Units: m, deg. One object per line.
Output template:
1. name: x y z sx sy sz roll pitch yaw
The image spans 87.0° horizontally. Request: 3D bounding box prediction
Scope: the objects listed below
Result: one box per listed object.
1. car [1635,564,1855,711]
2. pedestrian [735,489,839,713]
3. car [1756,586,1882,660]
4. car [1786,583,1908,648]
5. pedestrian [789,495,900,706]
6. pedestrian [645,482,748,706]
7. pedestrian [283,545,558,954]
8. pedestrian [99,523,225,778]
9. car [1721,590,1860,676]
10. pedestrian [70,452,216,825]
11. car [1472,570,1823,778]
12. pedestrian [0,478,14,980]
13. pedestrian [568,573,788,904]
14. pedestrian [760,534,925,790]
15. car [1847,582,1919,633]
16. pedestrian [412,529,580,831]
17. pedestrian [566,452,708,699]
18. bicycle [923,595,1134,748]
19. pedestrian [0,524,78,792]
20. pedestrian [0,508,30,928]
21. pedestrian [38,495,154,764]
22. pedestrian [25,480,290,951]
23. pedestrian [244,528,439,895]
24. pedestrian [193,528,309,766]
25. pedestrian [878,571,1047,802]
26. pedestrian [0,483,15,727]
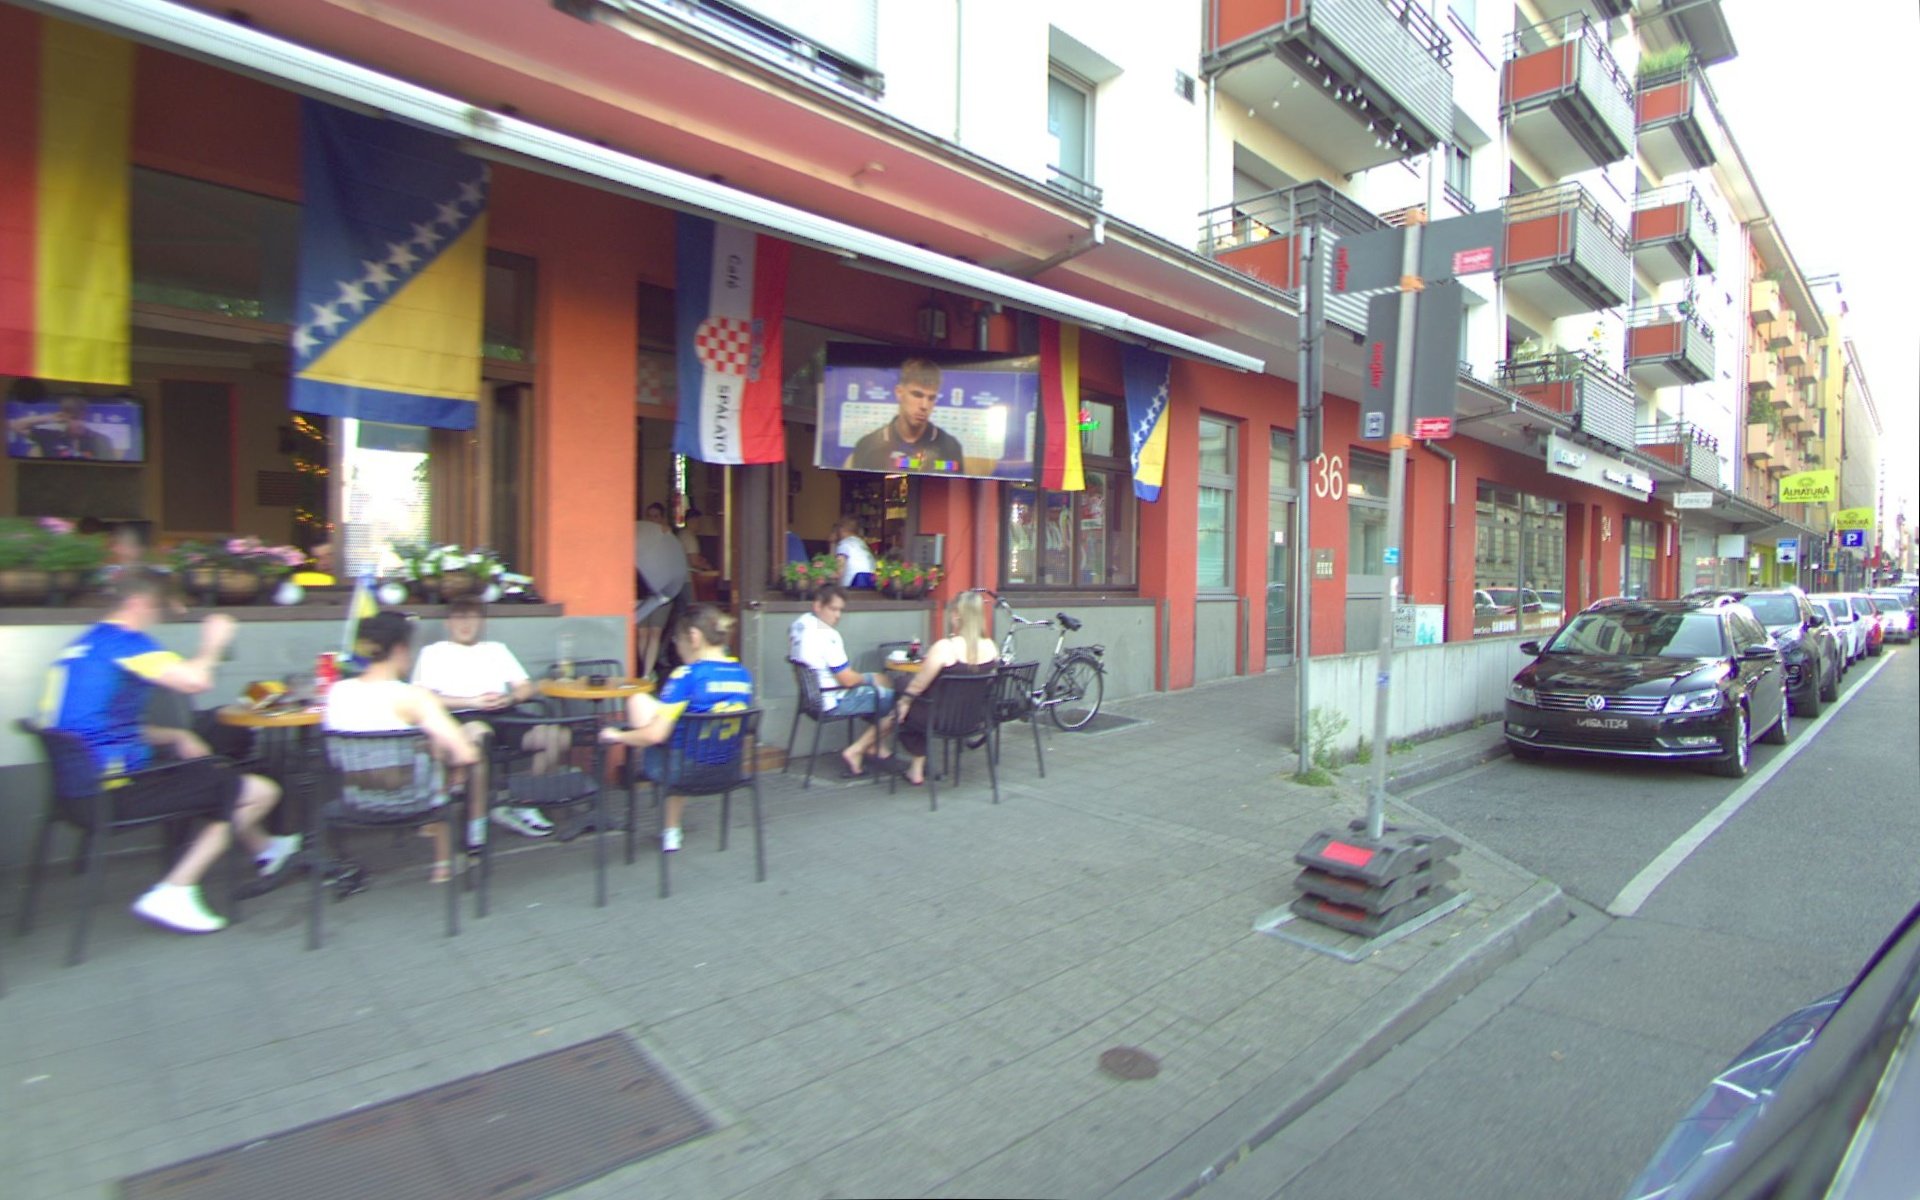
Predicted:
1. car: 10.901 0.431 13.950 4.070 1.721 1.880 0 0 -45
2. pedestrian: -1.434 -0.001 8.386 0.610 1.760 0.608 1 0 44
3. car: 19.064 0.456 22.411 3.882 1.496 1.764 0 0 -44
4. car: 22.270 0.346 25.363 4.320 1.496 1.864 0 0 -43
5. pedestrian: -1.016 -0.002 8.868 0.716 1.742 0.658 1 0 44
6. pedestrian: -2.225 -0.057 8.556 0.610 1.799 0.608 1 0 42
7. pedestrian: -2.069 0.492 3.887 0.653 1.361 0.738 4 3 43
8. pedestrian: -5.956 0.348 7.554 0.609 1.799 0.609 1 0 38
9. car: 15.350 0.531 18.629 1.747 1.421 3.905 0 0 43
10. pedestrian: -4.232 0.180 5.245 0.536 1.799 0.513 1 0 42
11. car: 6.888 0.553 9.919 4.552 1.571 1.876 0 0 -43
12. pedestrian: -3.376 0.377 3.057 0.648 1.545 0.690 6 4 41
13. pedestrian: -1.322 0.550 4.657 0.835 1.321 0.880 0 2 -25
14. pedestrian: -0.760 0.376 6.653 0.843 1.555 0.709 0 0 24
15. car: 31.875 0.224 34.389 4.290 1.637 1.997 0 0 -40
16. pedestrian: -2.435 0.380 5.302 0.712 1.439 0.592 0 0 45
17. pedestrian: -2.854 -0.209 9.040 1.126 2.039 1.155 0 0 -16
18. bicycle: 0.606 0.509 8.191 0.549 1.101 1.973 0 0 45
19. pedestrian: -6.625 0.385 7.057 0.609 1.799 0.609 1 0 38
20. pedestrian: -3.958 0.420 3.699 0.767 1.523 0.771 1 1 43
21. pedestrian: -7.006 0.218 8.202 0.659 2.039 0.812 0 0 -45
22. pedestrian: -3.080 0.378 3.881 0.850 1.555 0.669 0 0 42
23. pedestrian: -2.709 0.427 4.422 0.665 1.451 0.552 4 2 43
24. pedestrian: -5.647 0.348 8.064 0.609 1.799 0.609 1 0 38
25. pedestrian: 0.027 0.483 6.299 0.844 1.293 0.709 2 4 24
26. pedestrian: -7.467 0.035 7.522 0.610 1.799 0.608 1 0 43
